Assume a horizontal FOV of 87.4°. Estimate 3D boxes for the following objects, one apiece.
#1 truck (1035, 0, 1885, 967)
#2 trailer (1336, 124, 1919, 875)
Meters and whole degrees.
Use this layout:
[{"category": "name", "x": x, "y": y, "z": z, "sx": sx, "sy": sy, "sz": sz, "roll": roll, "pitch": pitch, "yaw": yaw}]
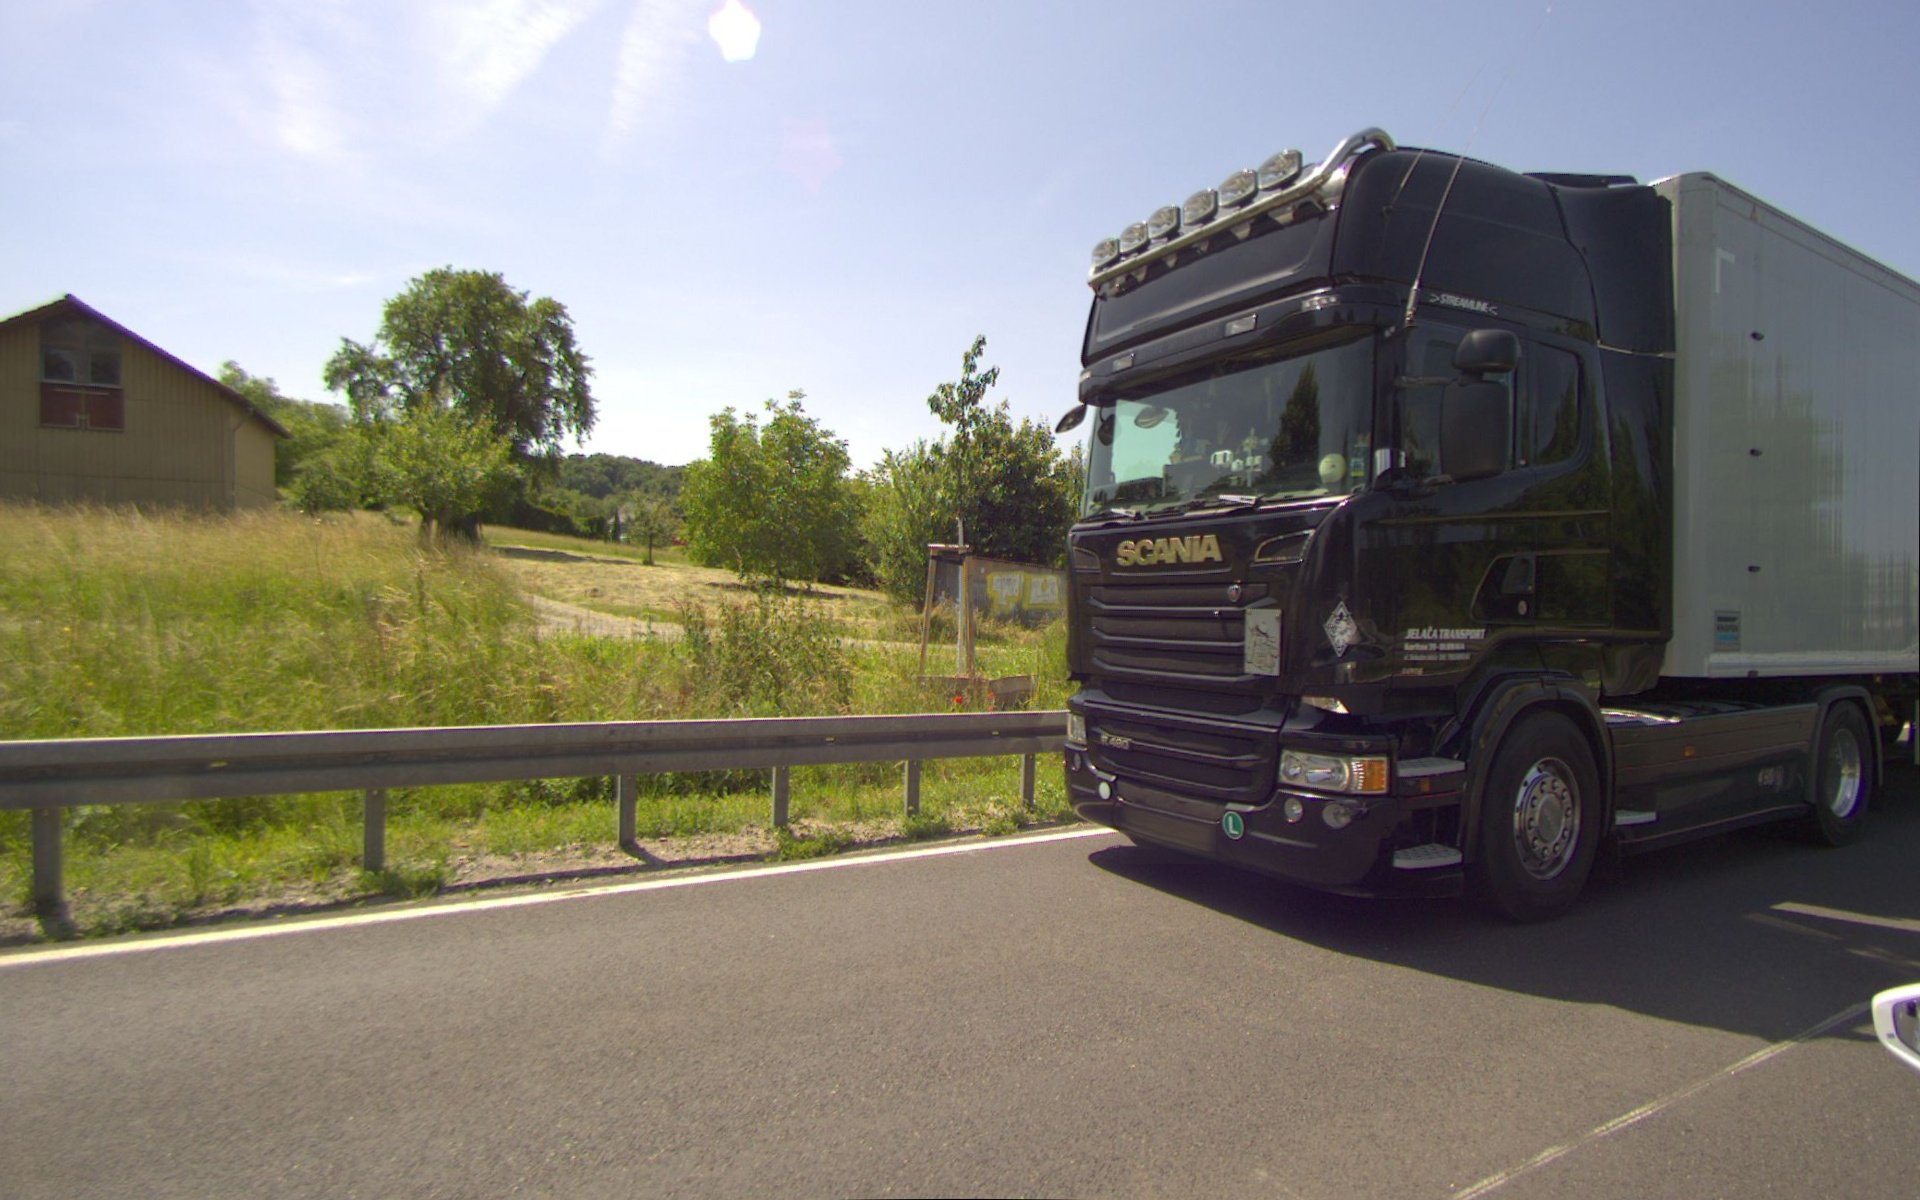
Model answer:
[{"category": "truck", "x": 3.492, "y": -0.540, "z": 6.664, "sx": 5.583, "sy": 4.250, "sz": 2.433, "roll": 1, "pitch": -1, "yaw": -31}, {"category": "trailer", "x": 9.466, "y": -0.413, "z": 10.295, "sx": 13.854, "sy": 4.240, "sz": 2.433, "roll": 1, "pitch": -1, "yaw": -31}]
